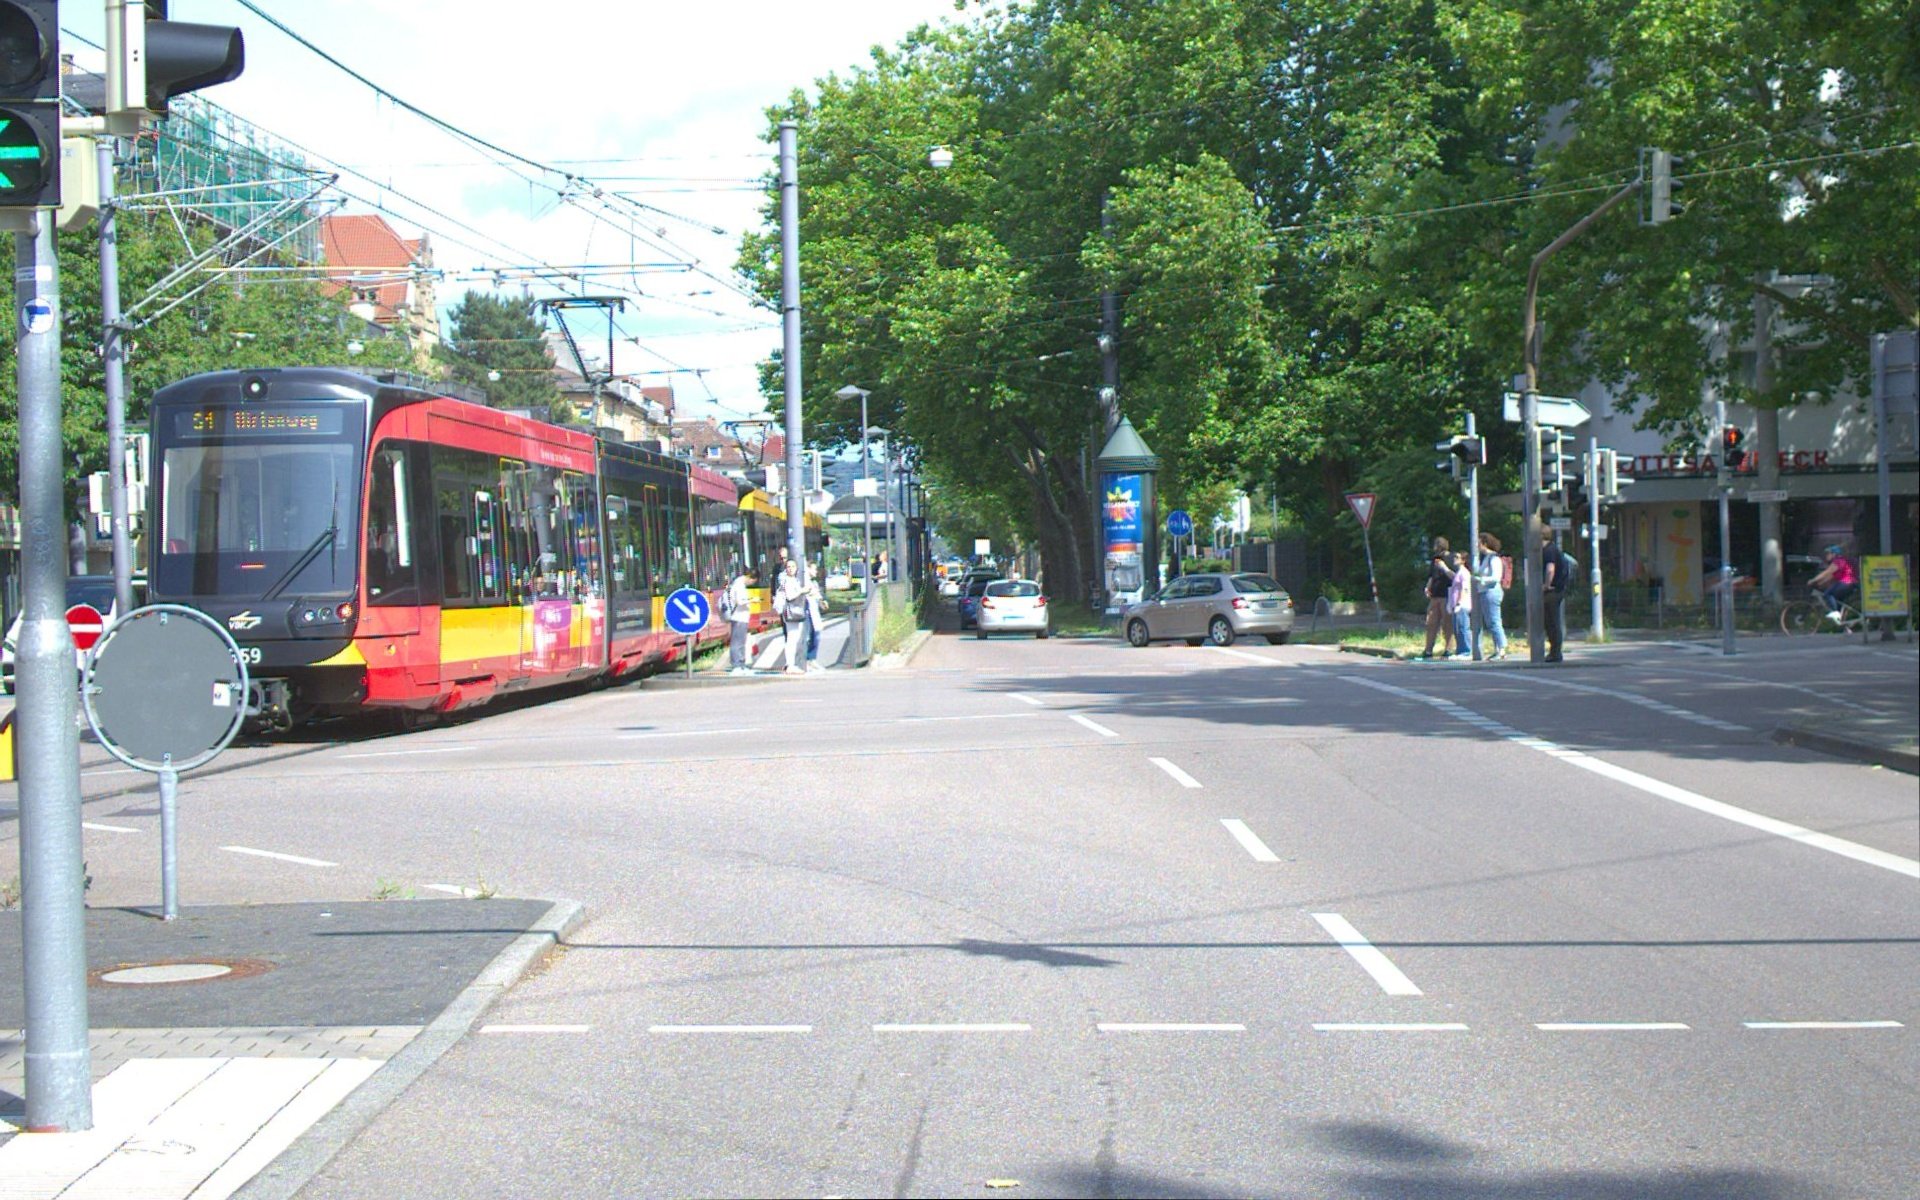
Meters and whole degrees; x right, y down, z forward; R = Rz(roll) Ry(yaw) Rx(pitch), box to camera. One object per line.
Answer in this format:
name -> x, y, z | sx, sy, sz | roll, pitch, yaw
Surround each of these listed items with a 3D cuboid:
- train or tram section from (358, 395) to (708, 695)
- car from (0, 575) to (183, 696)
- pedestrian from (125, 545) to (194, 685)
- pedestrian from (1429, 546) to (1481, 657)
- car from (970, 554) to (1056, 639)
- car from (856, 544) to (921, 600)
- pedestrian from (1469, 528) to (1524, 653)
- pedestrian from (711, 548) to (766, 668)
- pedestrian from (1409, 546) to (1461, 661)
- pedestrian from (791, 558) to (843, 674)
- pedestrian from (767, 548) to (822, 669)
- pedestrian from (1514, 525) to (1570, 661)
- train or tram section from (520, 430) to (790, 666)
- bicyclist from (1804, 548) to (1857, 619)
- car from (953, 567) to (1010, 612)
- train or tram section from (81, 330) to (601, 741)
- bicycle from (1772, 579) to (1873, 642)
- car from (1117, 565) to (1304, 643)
train or tram section -> -5.588, -0.743, 47.284 | 2.806, 3.549, 11.181 | -2, 1, 3
car -> -14.717, 0.557, 57.914 | 1.993, 1.885, 5.172 | -2, 1, 1
pedestrian -> -11.679, 0.211, 50.169 | 0.738, 2.007, 0.704 | -1, 0, 6
pedestrian -> 7.193, 0.020, 49.977 | 0.510, 1.592, 0.556 | -2, 0, -21
car -> 1.276, -0.104, 84.389 | 1.993, 2.007, 4.000 | 0, 1, -1
car -> -2.359, -0.949, 114.594 | 1.815, 1.798, 4.000 | -2, 1, 3
pedestrian -> 7.575, -0.136, 48.563 | 0.527, 1.729, 0.556 | -2, 0, -21
pedestrian -> -3.168, 0.108, 49.214 | 0.669, 1.697, 0.648 | -2, 0, 3
pedestrian -> 6.976, 0.054, 50.523 | 0.510, 1.665, 0.556 | -2, 0, -21
pedestrian -> -2.129, 0.226, 51.149 | 0.669, 1.697, 0.648 | -2, 0, 3
pedestrian -> -2.364, 0.117, 49.068 | 0.669, 1.697, 0.648 | -2, 0, 3
pedestrian -> 7.887, -0.094, 46.567 | 0.481, 1.819, 0.555 | -1, 1, 43
train or tram section -> -4.992, -0.881, 58.929 | 2.806, 3.549, 12.155 | -2, 1, 3
bicyclist -> 15.513, -0.300, 61.275 | 0.812, 1.247, 0.481 | 1, 0, 28
car -> 0.644, -0.336, 105.061 | 1.485, 1.310, 4.000 | -1, 1, -3
train or tram section -> -6.063, -0.642, 36.044 | 2.796, 3.549, 11.376 | -2, 1, 3
bicycle -> 15.388, 0.182, 61.344 | 1.679, 1.085, 0.481 | 1, 0, 28
car -> 4.963, 0.085, 68.409 | 1.749, 1.448, 3.604 | -2, 1, -36
